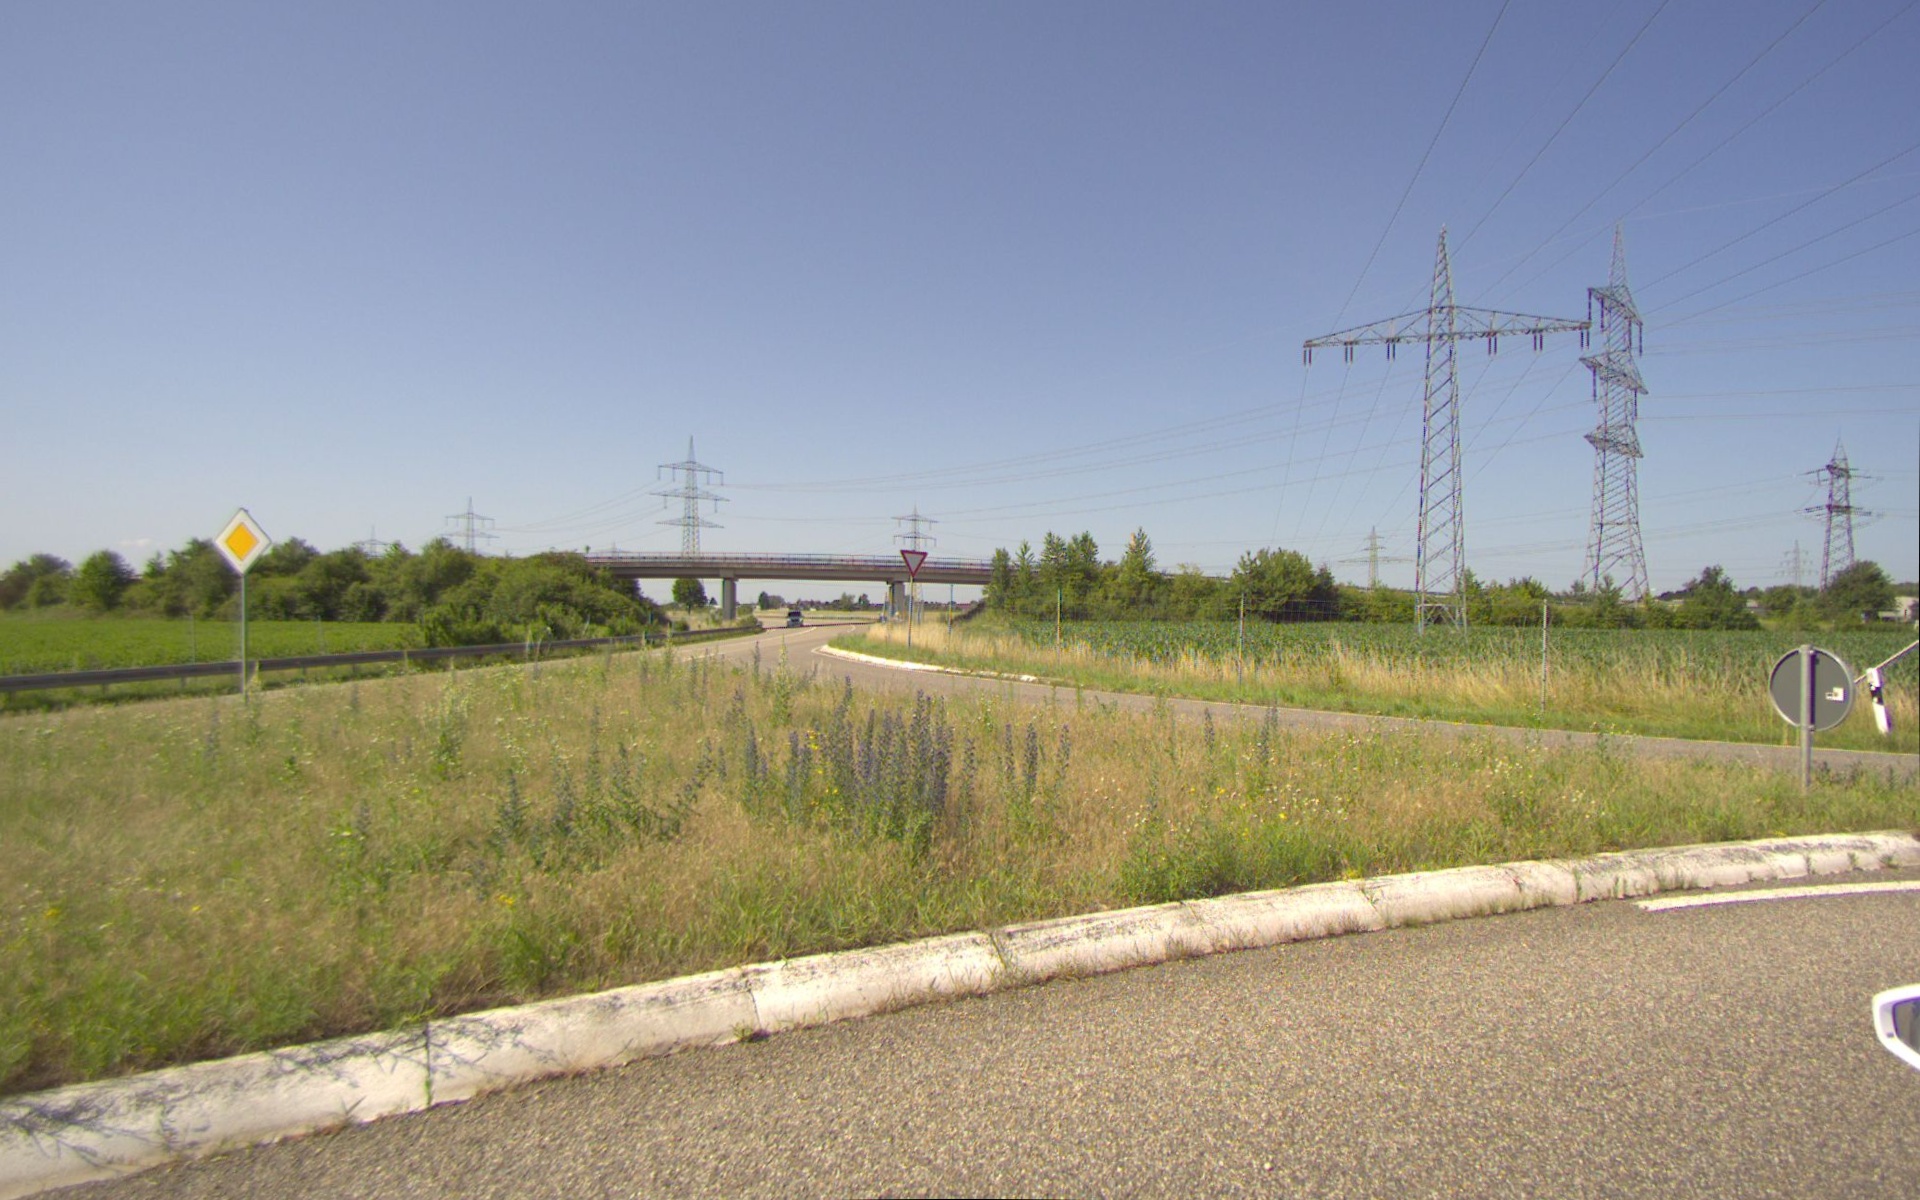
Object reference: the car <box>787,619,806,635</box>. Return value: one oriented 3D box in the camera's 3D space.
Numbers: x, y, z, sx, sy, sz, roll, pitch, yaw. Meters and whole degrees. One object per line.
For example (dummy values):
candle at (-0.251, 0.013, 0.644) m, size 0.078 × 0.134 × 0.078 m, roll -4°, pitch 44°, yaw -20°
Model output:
car at (-19.517, 3.214, 119.949) m, size 2.063 × 1.662 × 5.347 m, roll 0°, pitch 0°, yaw -7°
